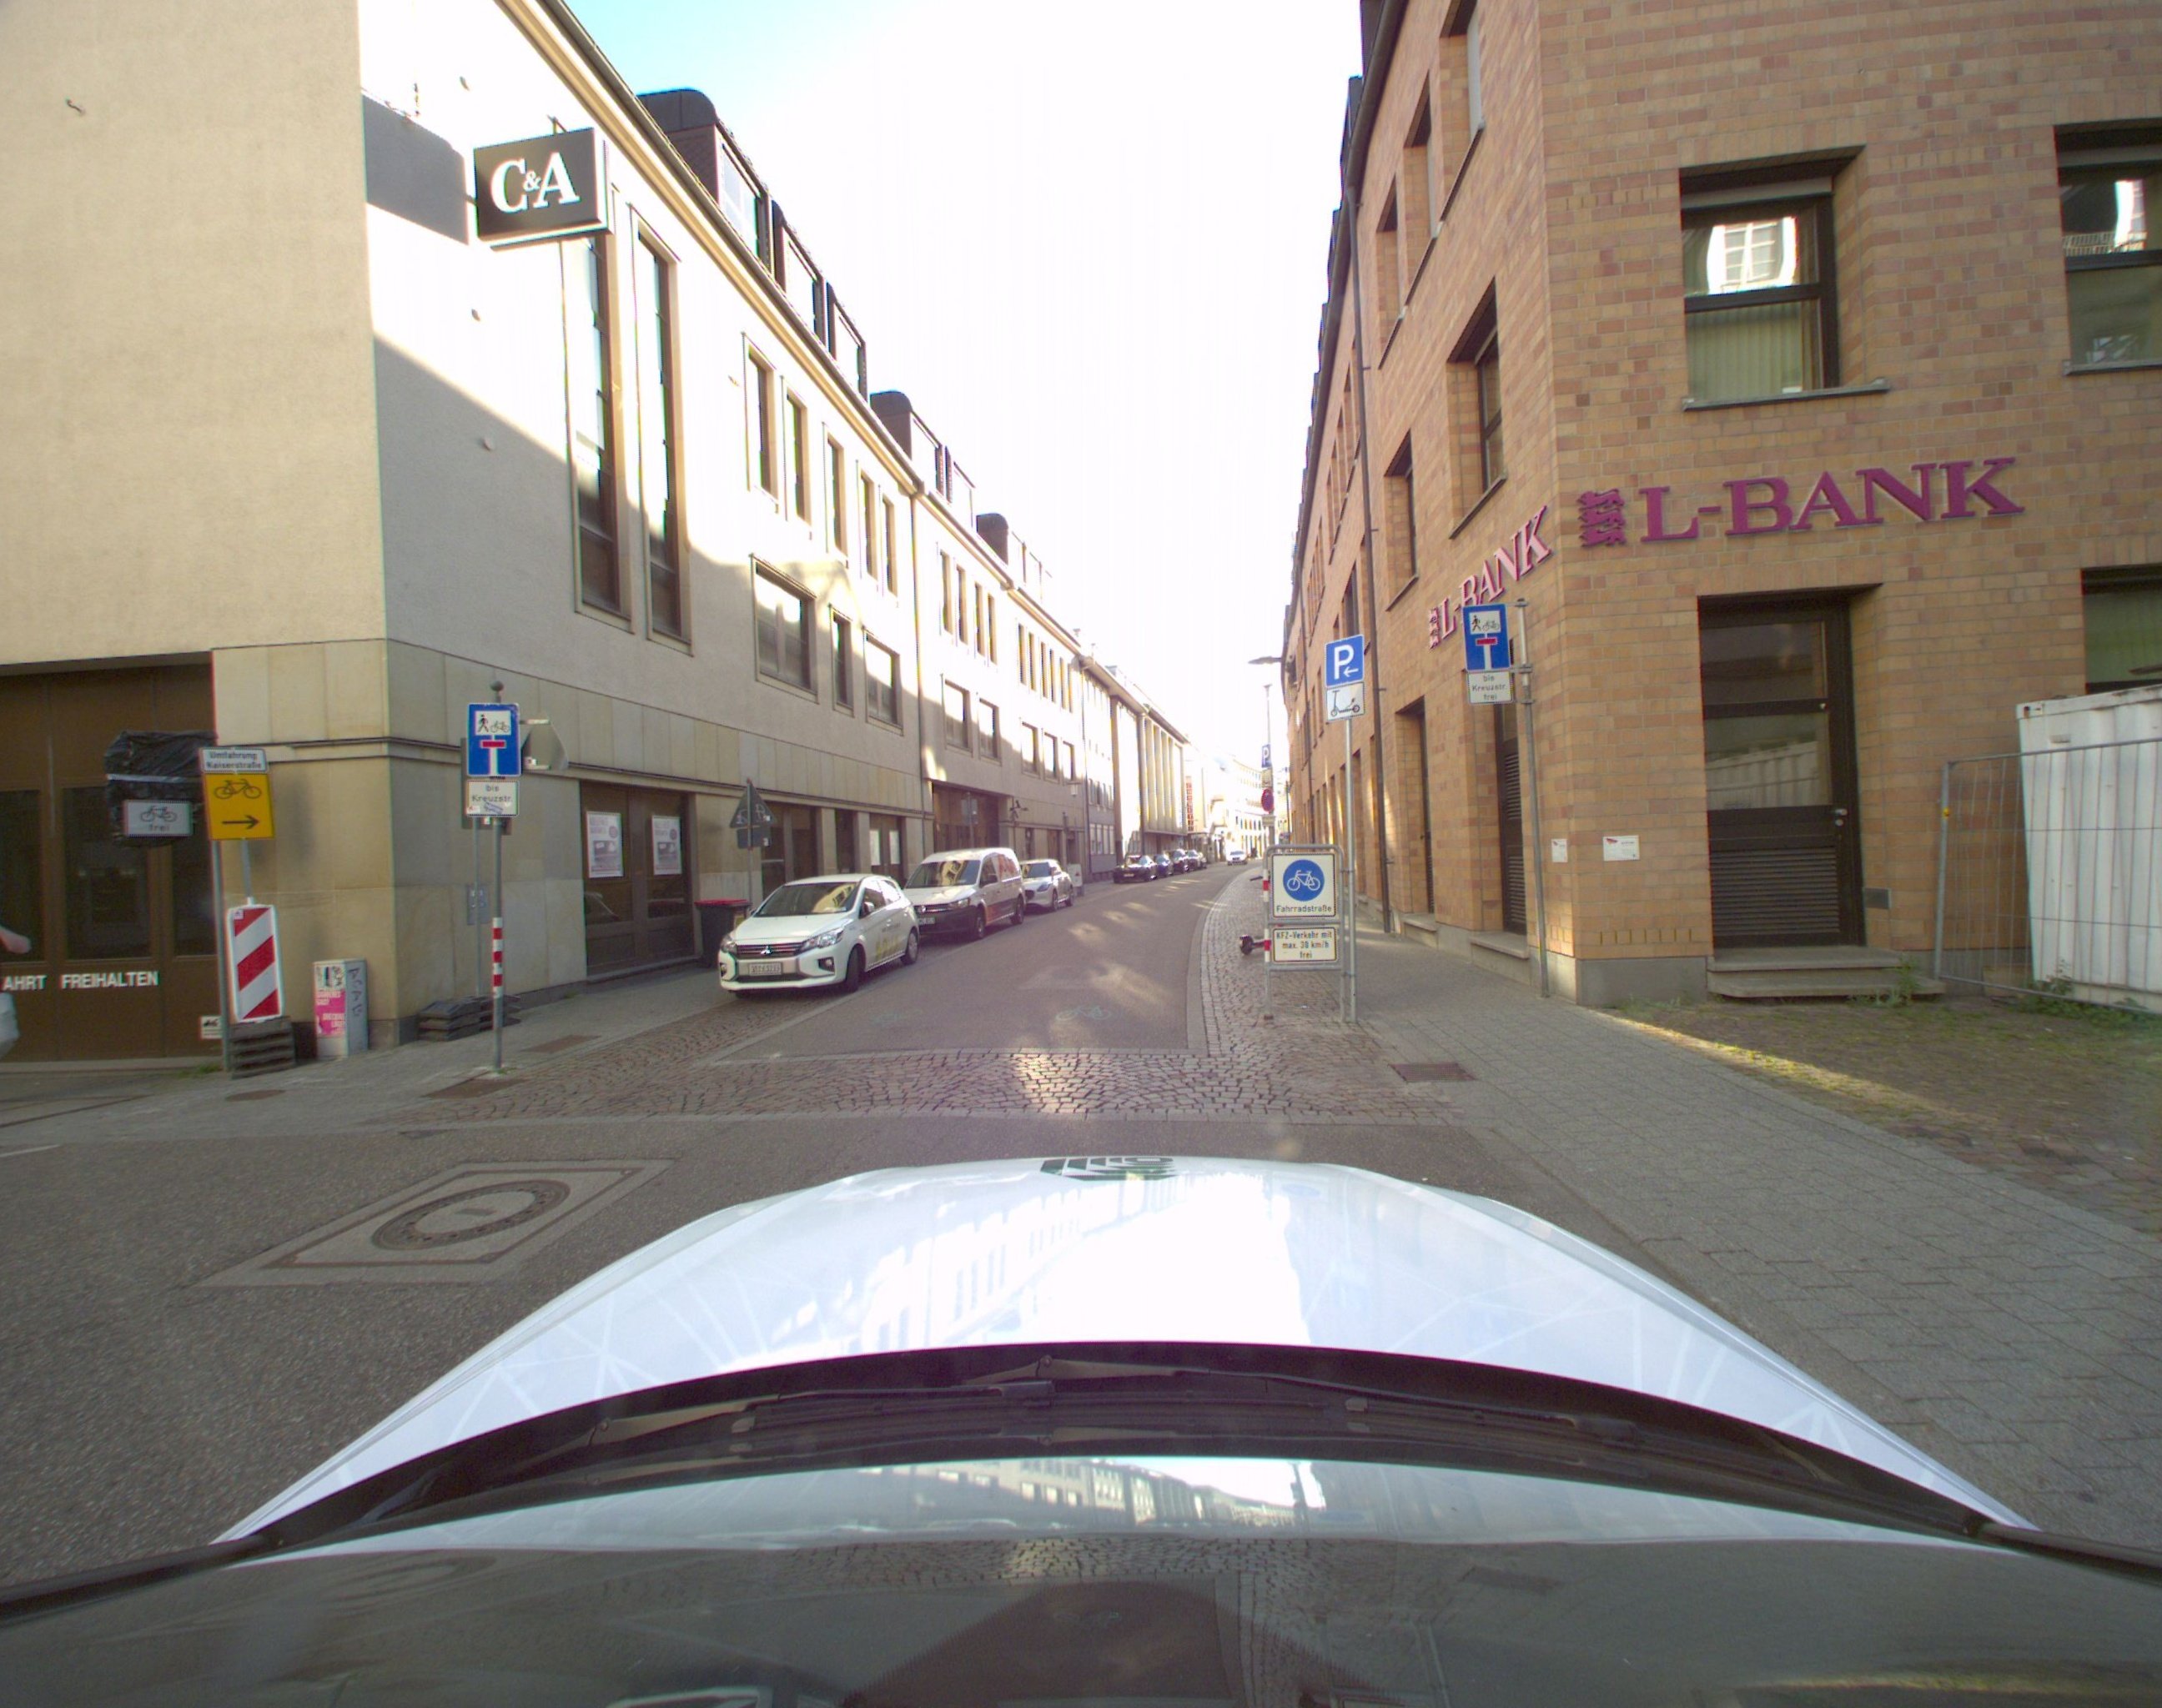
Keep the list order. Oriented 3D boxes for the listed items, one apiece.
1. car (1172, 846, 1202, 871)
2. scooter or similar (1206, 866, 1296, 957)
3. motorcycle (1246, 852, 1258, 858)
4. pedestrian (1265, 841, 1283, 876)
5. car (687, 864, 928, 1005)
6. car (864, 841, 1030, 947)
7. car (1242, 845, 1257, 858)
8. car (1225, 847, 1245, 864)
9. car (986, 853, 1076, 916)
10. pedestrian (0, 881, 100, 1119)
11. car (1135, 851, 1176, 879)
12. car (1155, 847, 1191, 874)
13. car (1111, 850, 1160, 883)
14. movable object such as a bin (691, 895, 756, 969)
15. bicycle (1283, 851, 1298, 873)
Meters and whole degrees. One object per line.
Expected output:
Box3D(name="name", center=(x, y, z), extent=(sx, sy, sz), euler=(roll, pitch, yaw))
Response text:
Box3D(name="car", center=(8.252, 0.314, 63.225), extent=(1.877, 1.742, 4.405), euler=(-3, 0, 12))
Box3D(name="scooter or similar", center=(2.569, 0.832, 12.220), extent=(1.426, 1.235, 0.532), euler=(-2, 1, -41))
Box3D(name="motorcycle", center=(23.998, 0.171, 114.285), extent=(1.677, 0.859, 0.597), euler=(-1, -1, 20))
Box3D(name="pedestrian", center=(9.838, 0.239, 41.545), extent=(0.755, 1.716, 0.824), euler=(-4, -1, 12))
Box3D(name="car", center=(-3.585, 0.976, 11.487), extent=(1.729, 1.492, 3.805), euler=(-4, 0, 5))
Box3D(name="car", center=(-2.647, 0.727, 17.375), extent=(1.887, 1.857, 4.747), euler=(-4, 0, 10))
Box3D(name="car", center=(21.236, -0.283, 102.441), extent=(1.628, 1.517, 4.176), euler=(-3, 0, 14))
Box3D(name="car", center=(14.915, 0.168, 78.834), extent=(1.703, 1.517, 4.174), euler=(-3, 0, 12))
Box3D(name="car", center=(-1.346, 0.817, 23.630), extent=(1.659, 1.522, 3.786), euler=(-5, 0, 10))
Box3D(name="pedestrian", center=(-8.942, 1.175, 6.668), extent=(0.858, 1.854, 0.714), euler=(-4, -2, -7))
Box3D(name="car", center=(4.628, 0.614, 50.108), extent=(1.877, 1.530, 4.354), euler=(-3, 0, 12))
Box3D(name="car", center=(6.352, 0.417, 55.873), extent=(1.877, 1.675, 4.569), euler=(-3, 0, 12))
Box3D(name="car", center=(3.010, 0.633, 43.962), extent=(1.877, 1.530, 4.745), euler=(-3, 0, 12))
Box3D(name="movable object such as a bin", center=(-5.586, 1.210, 12.746), extent=(0.733, 1.101, 0.592), euler=(-1, -1, 6))
Box3D(name="bicycle", center=(11.319, 0.443, 44.065), extent=(0.546, 1.103, 1.988), euler=(-6, -1, 10))
